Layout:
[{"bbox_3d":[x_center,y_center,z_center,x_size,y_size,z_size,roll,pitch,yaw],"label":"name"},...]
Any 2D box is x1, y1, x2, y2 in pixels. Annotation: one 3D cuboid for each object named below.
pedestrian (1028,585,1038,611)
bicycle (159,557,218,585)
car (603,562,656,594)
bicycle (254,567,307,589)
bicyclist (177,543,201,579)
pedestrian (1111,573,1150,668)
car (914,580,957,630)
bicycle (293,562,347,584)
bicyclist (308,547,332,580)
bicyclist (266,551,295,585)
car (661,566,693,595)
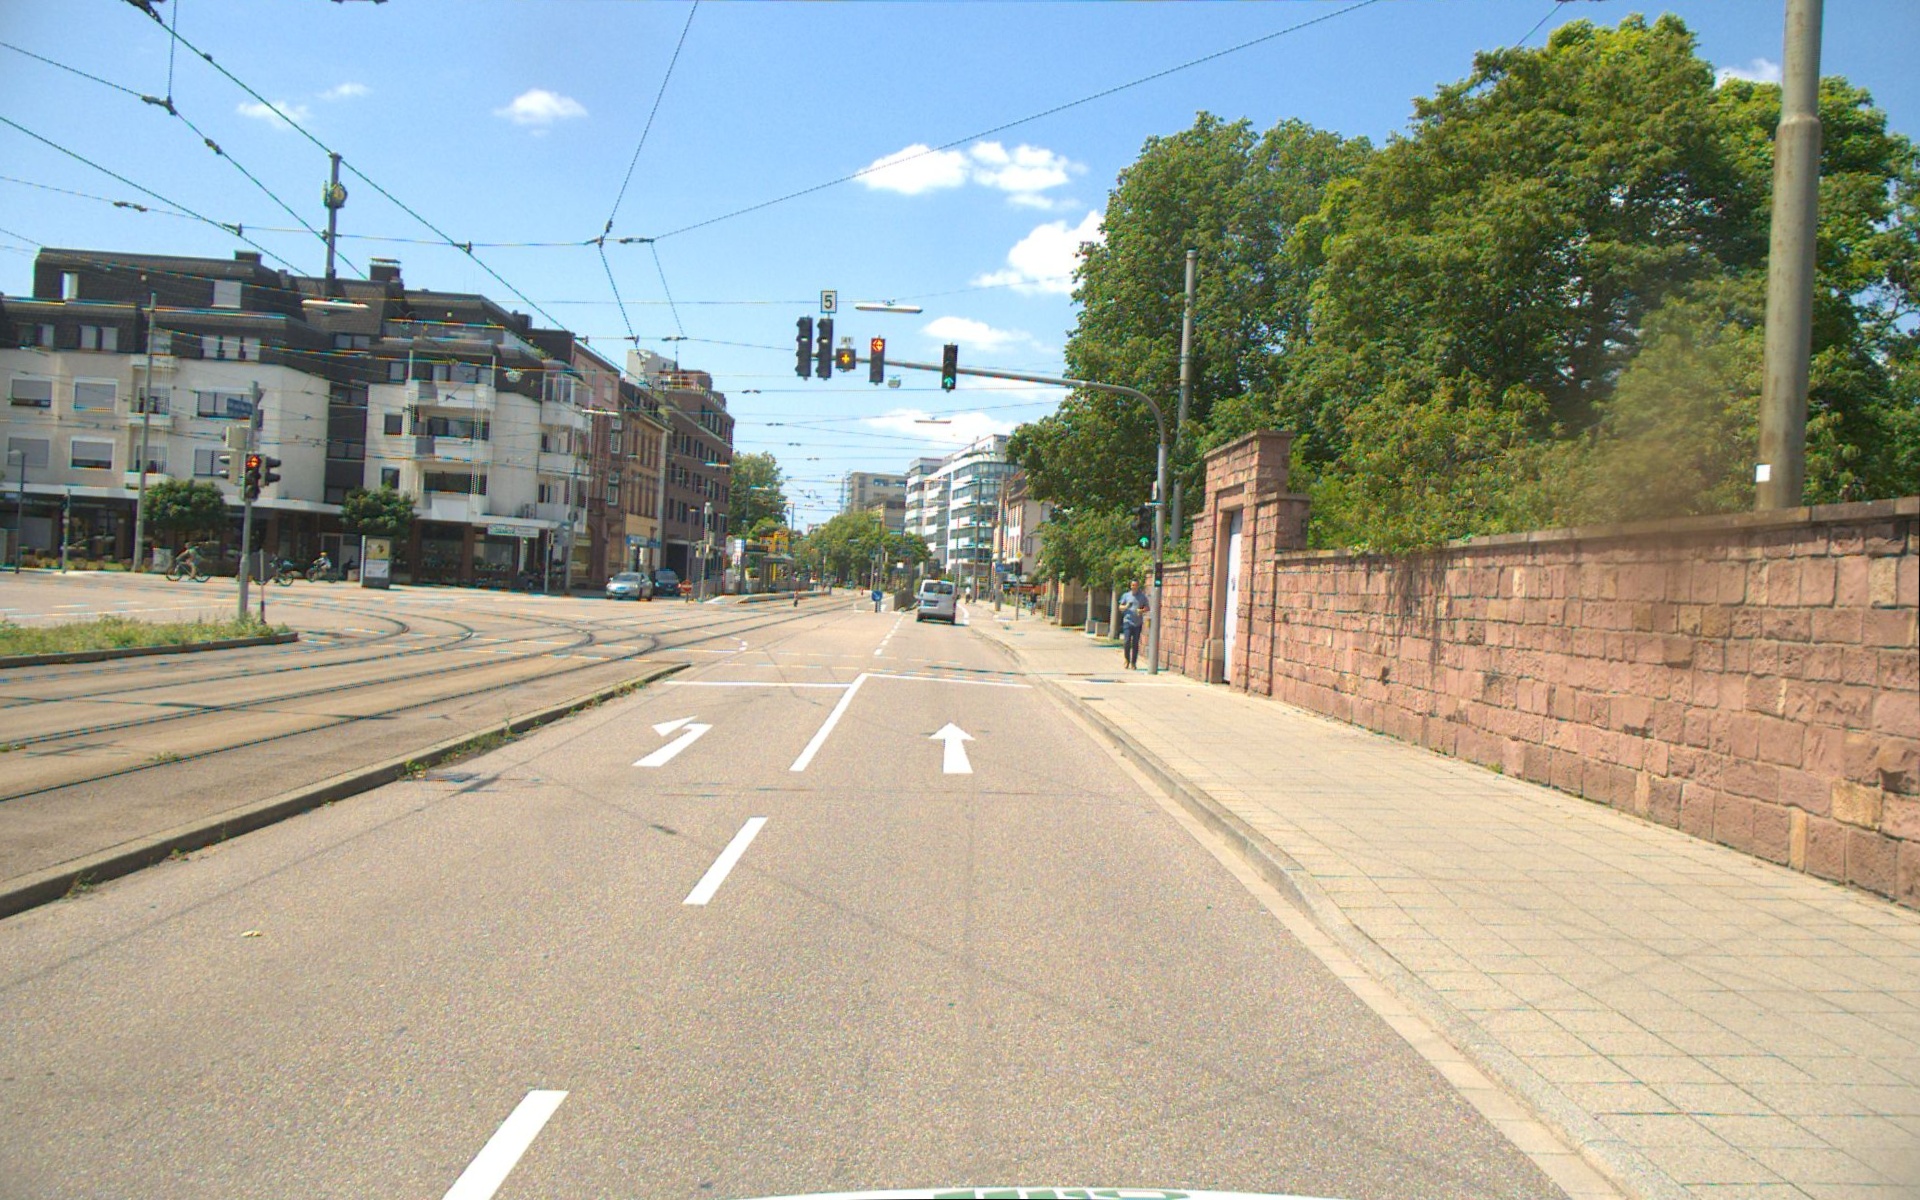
[{"bbox_3d":[4.508,-0.128,102.552,0.565,1.583,0.786,1,-1,2],"label":"pedestrian"},{"bbox_3d":[-32.747,-1.243,70.202,2.220,1.120,0.513,1,-1,-24],"label":"bicycle"},{"bbox_3d":[-17.126,-1.133,85.833,1.954,1.497,4.400,3,1,-2],"label":"car"},{"bbox_3d":[-29.580,-0.954,72.008,0.410,0.896,2.248,1,-1,36],"label":"bicycle"},{"bbox_3d":[-32.720,-1.649,70.212,0.839,1.513,0.732,1,-1,-22],"label":"bicyclist"},{"bbox_3d":[3.468,0.420,33.726,0.700,1.884,0.768,3,0,6],"label":"pedestrian"},{"bbox_3d":[-1.053,0.197,73.244,1.716,2.048,4.001,2,1,0],"label":"car"},{"bbox_3d":[-29.854,-1.237,77.153,2.238,0.951,0.661,2,-1,-42],"label":"bicycle"},{"bbox_3d":[-29.841,-1.688,77.140,0.841,1.494,0.647,2,-1,-41],"label":"bicyclist"},{"bbox_3d":[-29.584,-1.386,71.995,0.618,1.447,0.960,1,-1,37],"label":"bicyclist"},{"bbox_3d":[-18.305,-1.265,107.207,1.691,1.712,4.274,3,2,-7],"label":"car"}]
